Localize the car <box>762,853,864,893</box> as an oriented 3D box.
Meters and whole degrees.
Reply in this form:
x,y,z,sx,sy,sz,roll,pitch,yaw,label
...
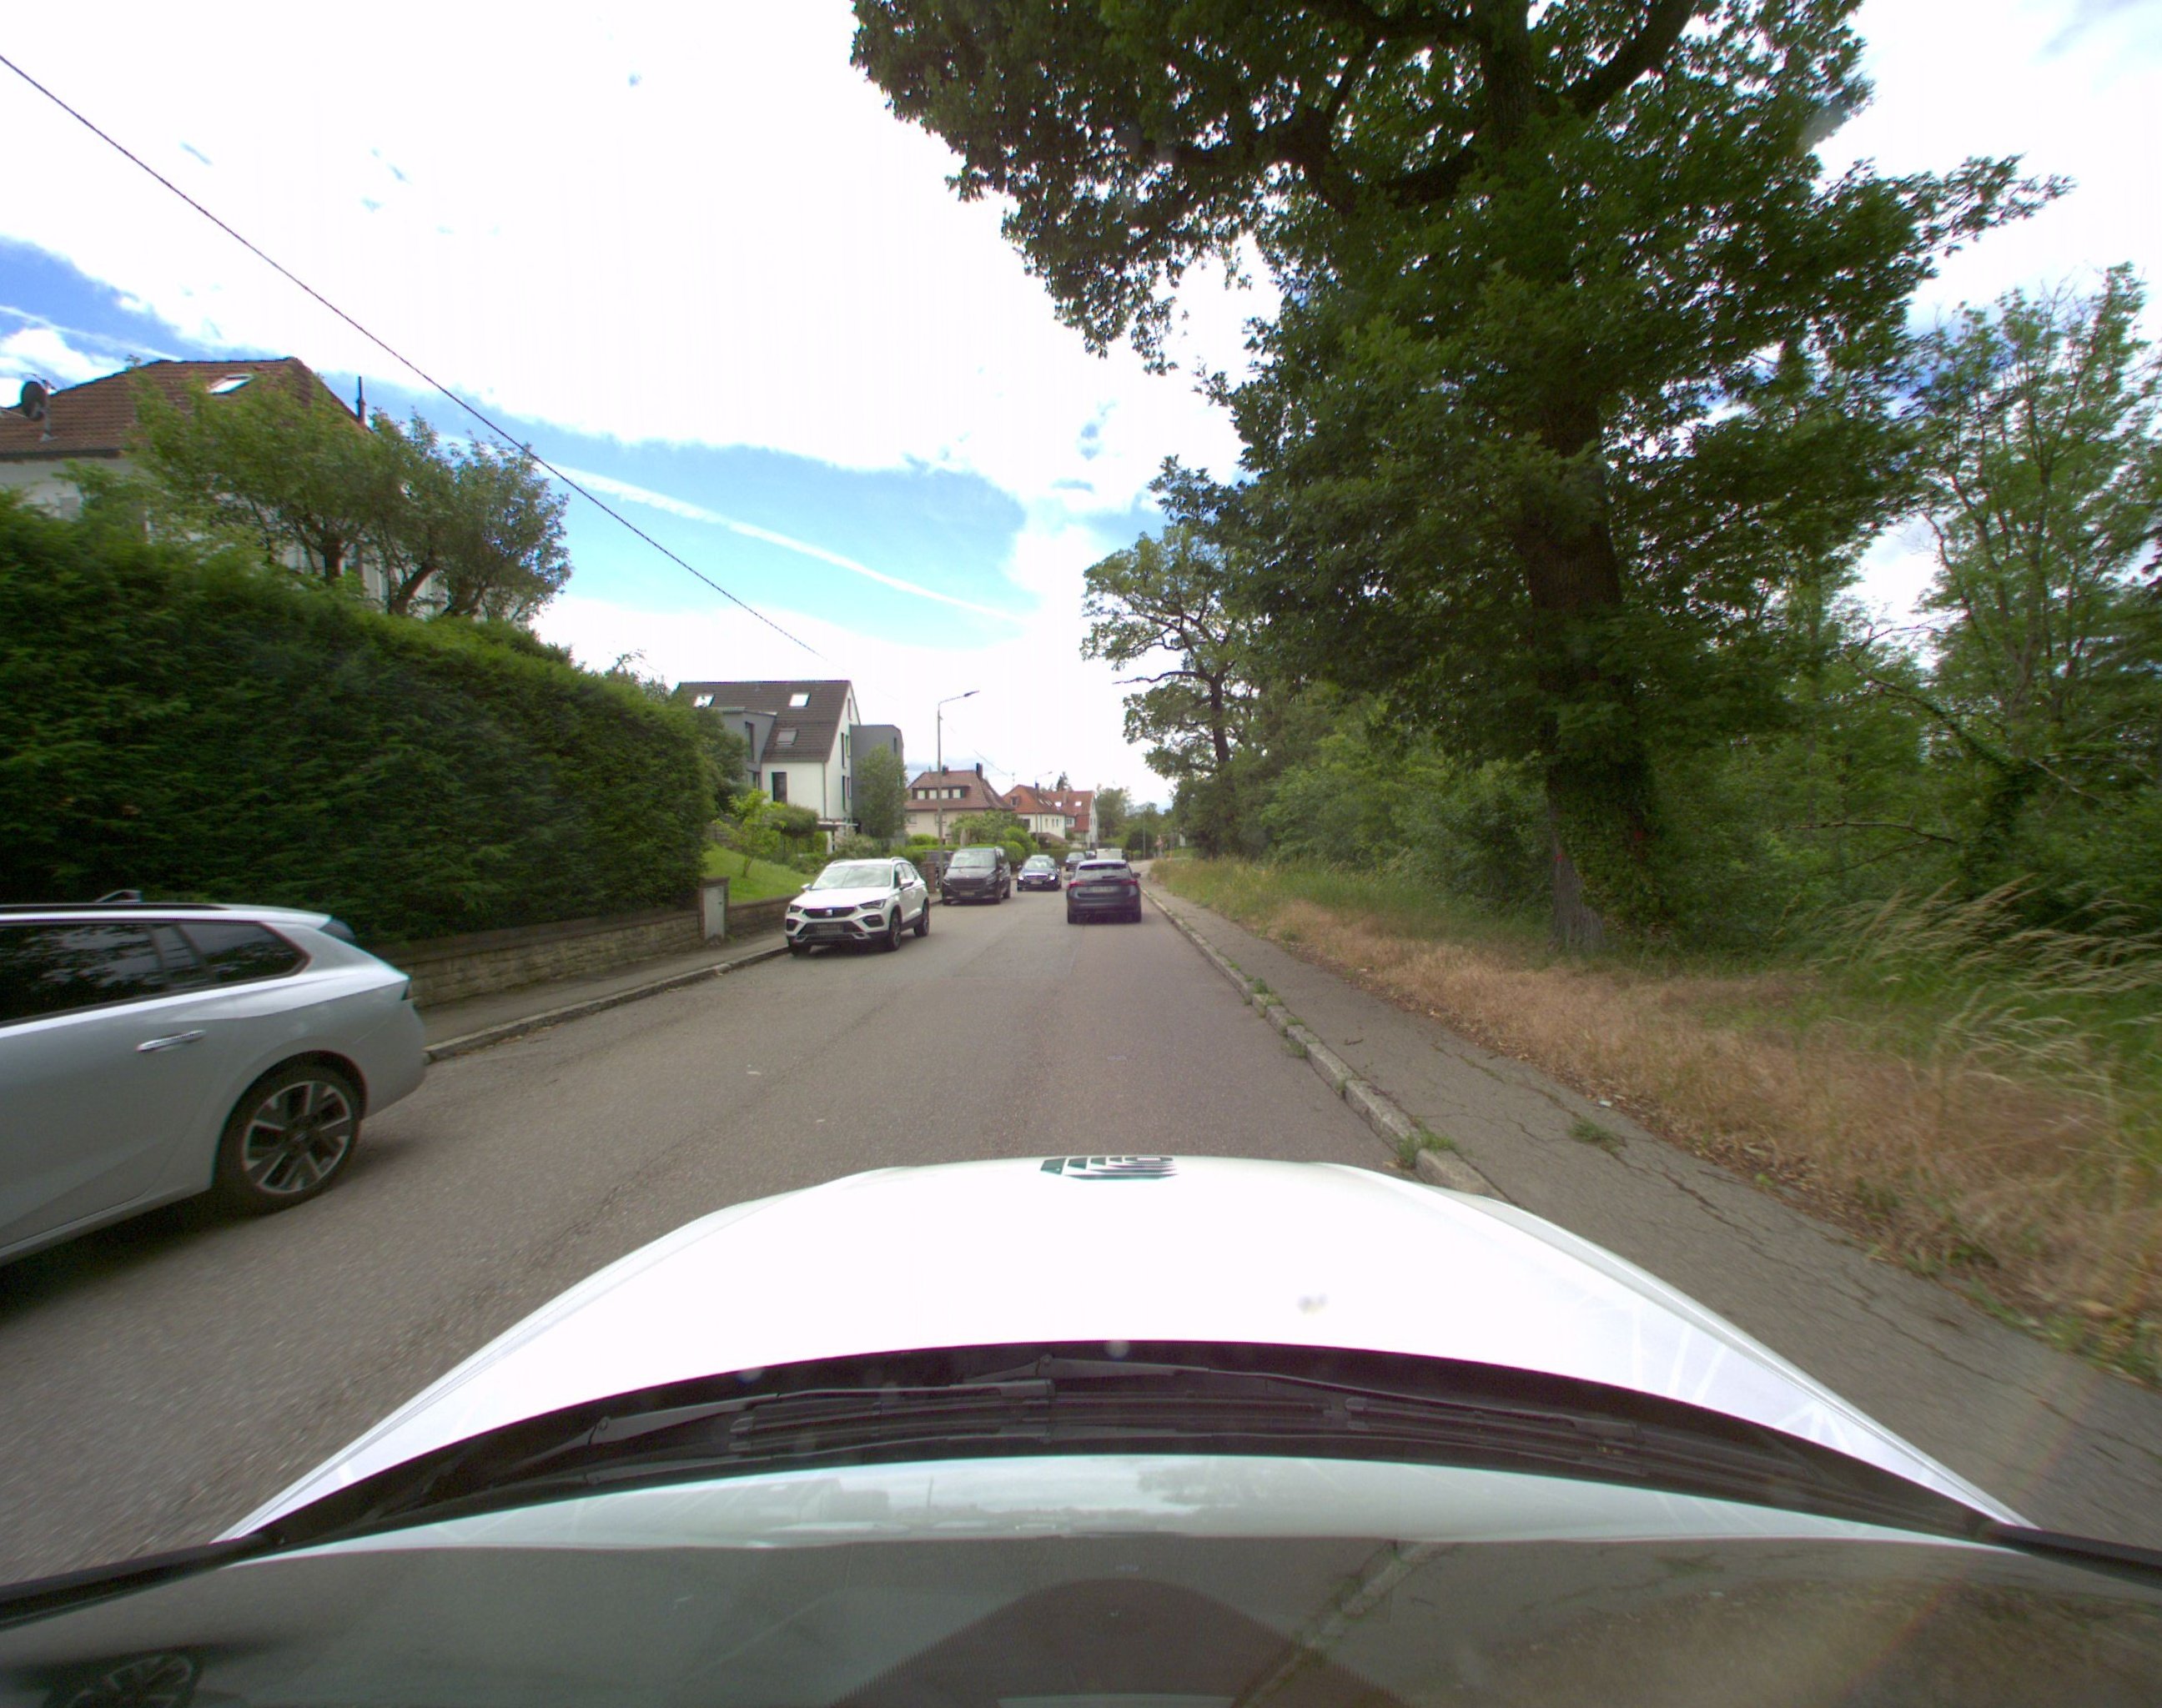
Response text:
x,y,z,sx,sy,sz,roll,pitch,yaw,label
-12.546,0.869,38.380,4.112,1.697,1.999,-1,2,-2,car

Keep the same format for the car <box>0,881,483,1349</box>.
x,y,z,sx,sy,sz,roll,pitch,yaw,label
-4.513,0.943,2.597,1.757,1.499,4.475,-3,0,1,car

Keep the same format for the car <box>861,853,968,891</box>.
x,y,z,sx,sy,sz,roll,pitch,yaw,label
-7.798,0.832,38.455,4.604,1.697,1.998,-1,0,-2,car

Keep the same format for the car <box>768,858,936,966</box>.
x,y,z,sx,sy,sz,roll,pitch,yaw,label
-4.045,0.938,15.159,1.832,1.648,4.185,-3,0,0,car

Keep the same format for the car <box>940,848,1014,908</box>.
x,y,z,sx,sy,sz,roll,pitch,yaw,label
-3.513,0.766,28.510,1.856,1.926,5.039,0,0,1,car

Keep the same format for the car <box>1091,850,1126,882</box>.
x,y,z,sx,sy,sz,roll,pitch,yaw,label
1.705,0.706,50.793,2.064,1.922,4.923,0,0,1,car

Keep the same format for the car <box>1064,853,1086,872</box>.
x,y,z,sx,sy,sz,roll,pitch,yaw,label
-0.508,0.694,71.967,1.827,1.597,4.325,0,1,1,car

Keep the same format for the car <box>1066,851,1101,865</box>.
x,y,z,sx,sy,sz,roll,pitch,yaw,label
0.354,0.526,99.463,3.962,1.618,2.006,-1,0,10,car

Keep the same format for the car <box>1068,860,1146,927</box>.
x,y,z,sx,sy,sz,roll,pitch,yaw,label
0.551,0.894,20.209,1.723,1.439,4.321,0,0,-1,car

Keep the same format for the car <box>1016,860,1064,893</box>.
x,y,z,sx,sy,sz,roll,pitch,yaw,label
-1.805,0.977,37.139,1.856,1.414,4.593,0,0,1,car
